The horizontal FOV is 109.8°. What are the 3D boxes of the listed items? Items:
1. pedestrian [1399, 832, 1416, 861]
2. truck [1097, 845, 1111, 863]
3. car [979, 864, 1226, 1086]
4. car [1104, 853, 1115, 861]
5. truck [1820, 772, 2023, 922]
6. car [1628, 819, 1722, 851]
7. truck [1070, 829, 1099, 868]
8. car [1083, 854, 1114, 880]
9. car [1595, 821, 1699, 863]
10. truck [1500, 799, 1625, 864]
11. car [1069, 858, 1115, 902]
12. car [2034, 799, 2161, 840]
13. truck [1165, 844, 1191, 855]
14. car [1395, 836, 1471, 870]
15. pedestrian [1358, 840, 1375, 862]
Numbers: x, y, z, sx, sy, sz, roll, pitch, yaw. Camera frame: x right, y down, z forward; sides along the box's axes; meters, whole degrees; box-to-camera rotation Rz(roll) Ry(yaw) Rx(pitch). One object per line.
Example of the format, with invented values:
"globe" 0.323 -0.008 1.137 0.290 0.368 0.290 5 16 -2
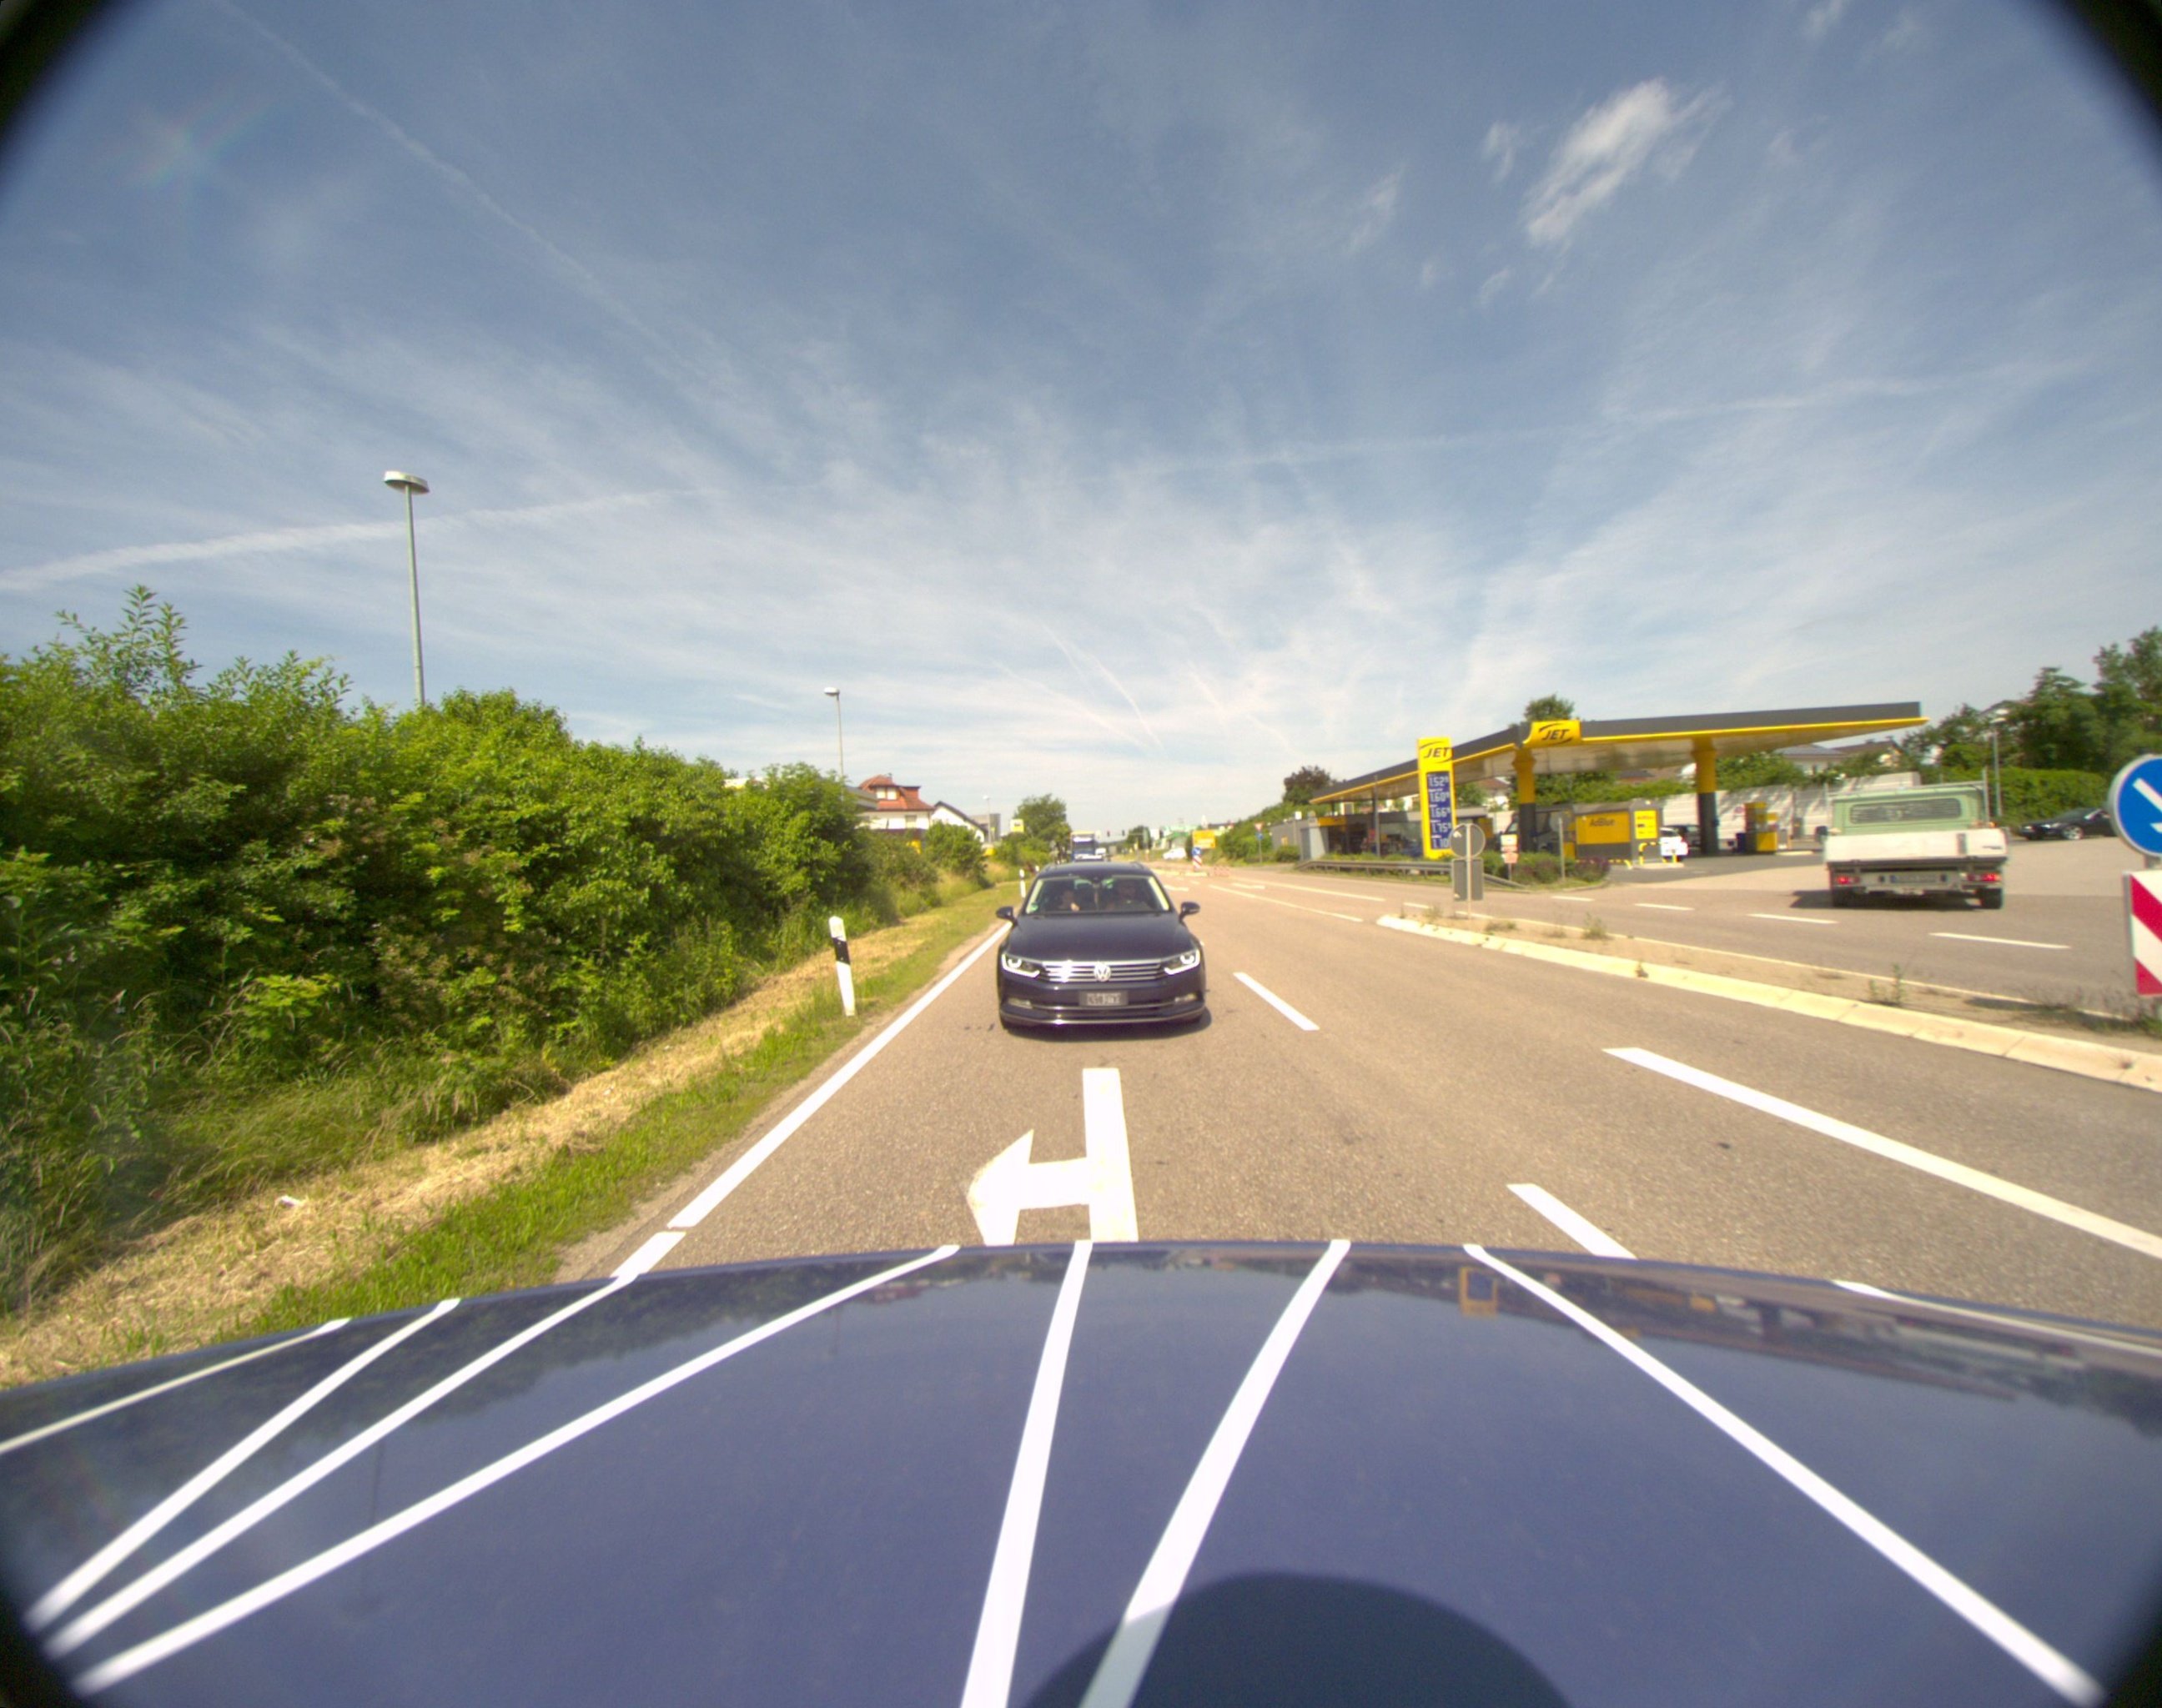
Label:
"pedestrian" 21.645 -0.492 50.347 0.798 1.827 0.640 -3 0 1
"truck" 5.076 -0.029 172.133 2.855 3.999 12.916 -2 0 1
"car" 0.209 0.920 8.014 1.756 1.493 4.925 -2 0 1
"car" 4.950 0.503 131.132 1.786 1.210 4.000 -3 0 2
"truck" 16.259 -0.192 15.027 2.243 2.361 6.362 -2 1 45
"car" 32.404 -0.995 41.606 1.753 1.603 3.873 -2 0 -9
"truck" 0.505 -0.605 85.684 2.855 3.999 12.916 -2 0 1
"car" 1.117 0.802 47.426 1.814 1.466 3.974 -2 0 1
"car" 24.406 -0.487 32.951 1.736 1.717 4.001 -1 0 4
"truck" 24.044 -1.090 38.346 2.250 2.906 6.282 -2 1 0
"car" 0.467 0.900 28.160 1.470 1.451 3.798 -2 0 4
"car" 45.058 -1.518 33.312 3.870 1.603 1.754 -2 0 10
"truck" 19.601 -0.891 153.744 4.771 1.997 2.000 -3 0 0
"car" 19.249 -0.036 41.757 1.999 1.696 4.264 -2 0 -3
"pedestrian" 18.900 -0.222 50.263 0.914 1.419 0.494 -2 1 10
